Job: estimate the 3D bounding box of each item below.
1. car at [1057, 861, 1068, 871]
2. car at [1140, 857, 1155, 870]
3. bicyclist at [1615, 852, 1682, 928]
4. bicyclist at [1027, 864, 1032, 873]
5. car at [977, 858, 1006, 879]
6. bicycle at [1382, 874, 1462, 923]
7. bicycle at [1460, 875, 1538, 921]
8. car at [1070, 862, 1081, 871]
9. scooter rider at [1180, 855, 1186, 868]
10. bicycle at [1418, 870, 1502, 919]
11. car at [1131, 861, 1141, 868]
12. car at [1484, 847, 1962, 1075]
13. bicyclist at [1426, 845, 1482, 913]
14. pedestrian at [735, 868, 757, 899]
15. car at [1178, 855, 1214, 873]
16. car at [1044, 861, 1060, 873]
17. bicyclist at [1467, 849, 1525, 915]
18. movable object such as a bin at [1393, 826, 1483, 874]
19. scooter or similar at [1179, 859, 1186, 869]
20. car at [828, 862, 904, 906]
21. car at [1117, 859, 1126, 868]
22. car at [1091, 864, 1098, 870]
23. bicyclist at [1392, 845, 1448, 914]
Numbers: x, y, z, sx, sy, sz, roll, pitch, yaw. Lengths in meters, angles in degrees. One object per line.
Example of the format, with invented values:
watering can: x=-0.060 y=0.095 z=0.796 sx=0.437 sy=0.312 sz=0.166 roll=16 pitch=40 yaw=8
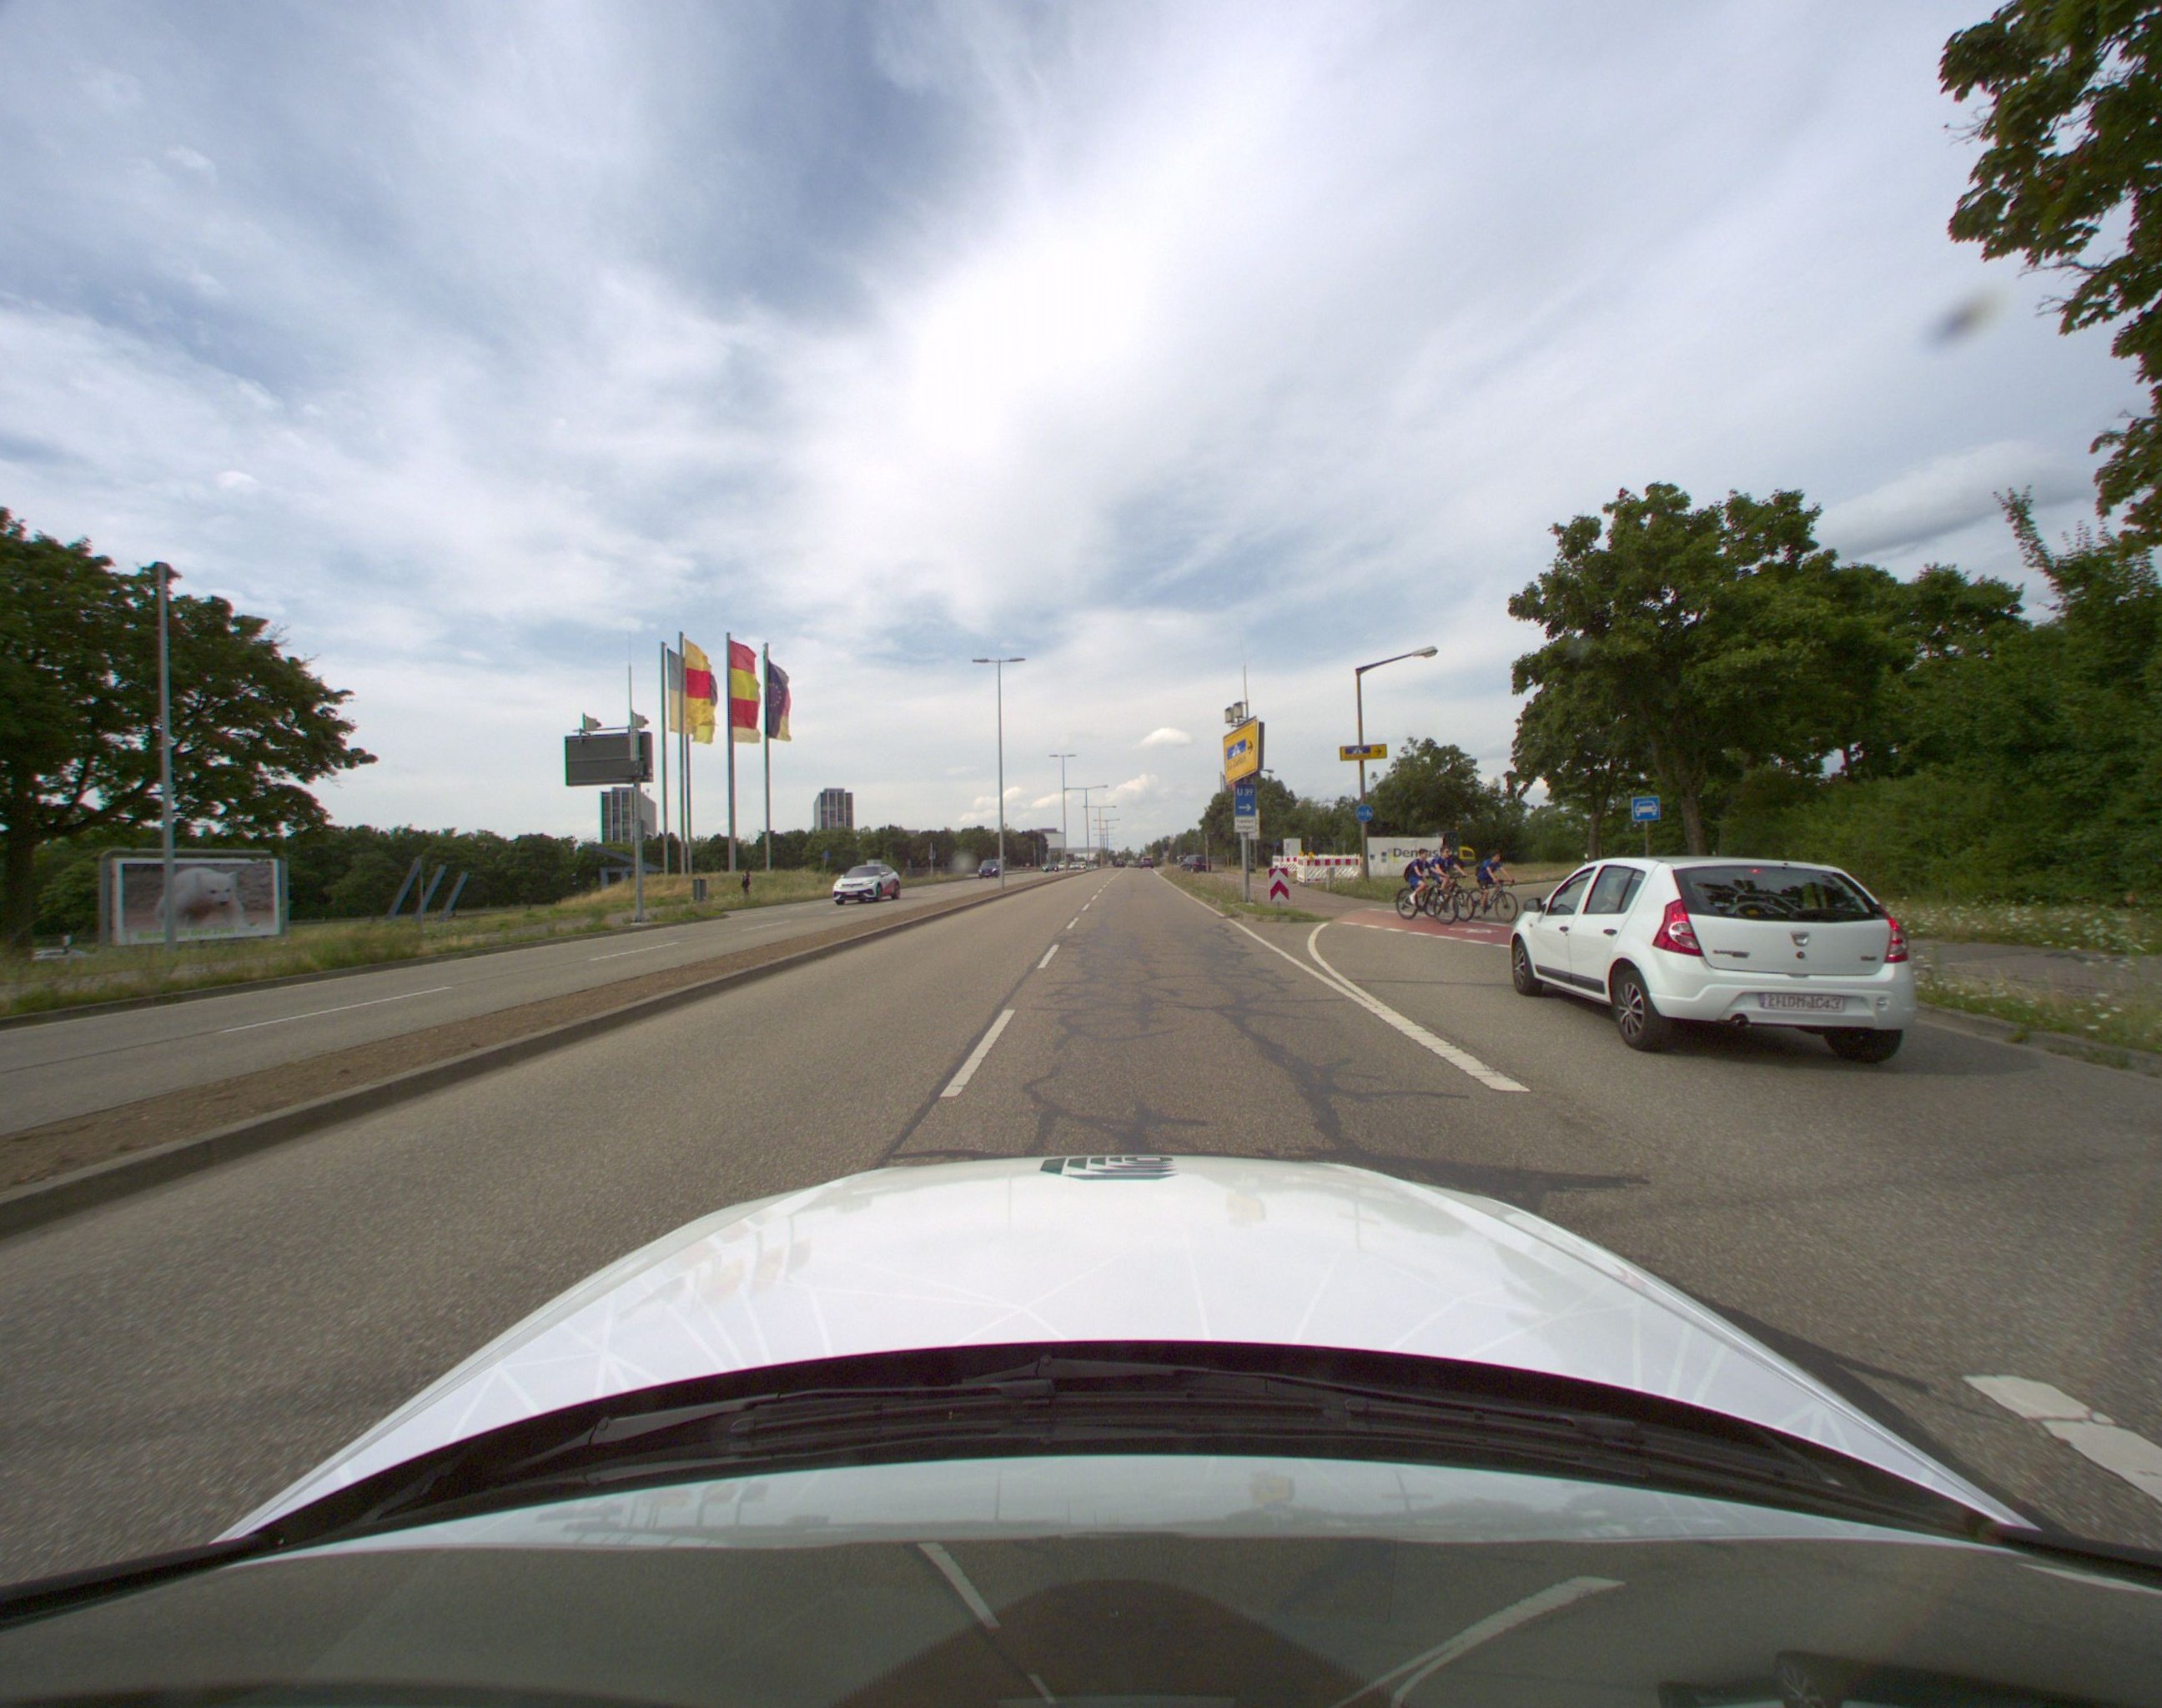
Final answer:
car: x=-3.201 y=2.127 z=141.747 sx=1.542 sy=1.578 sz=3.694 roll=-4 pitch=-1 yaw=3
car: x=9.297 y=1.335 z=114.706 sx=1.725 sy=1.653 sz=4.112 roll=-1 pitch=-2 yaw=-1
bicyclist: x=11.373 y=0.711 z=16.336 sx=0.739 sy=1.474 sz=0.803 roll=0 pitch=-1 yaw=-7
bicyclist: x=-9.664 y=2.743 z=152.979 sx=0.792 sy=1.626 sz=0.976 roll=-1 pitch=-1 yaw=1
car: x=-9.135 y=1.474 z=83.849 sx=1.839 sy=1.894 sz=5.512 roll=-5 pitch=-1 yaw=5
bicycle: x=7.692 y=0.977 z=18.497 sx=0.620 sy=1.006 sz=2.095 roll=1 pitch=0 yaw=-11
bicycle: x=9.751 y=1.005 z=19.088 sx=0.620 sy=1.006 sz=1.780 roll=-3 pitch=-1 yaw=-11
car: x=-1.070 y=2.350 z=157.240 sx=1.641 sy=1.515 sz=4.024 roll=-4 pitch=-1 yaw=7
scooter rider: x=13.132 y=0.950 z=105.143 sx=0.586 sy=1.690 sz=0.742 roll=0 pitch=-1 yaw=-5
bicycle: x=8.718 y=0.917 z=18.846 sx=0.595 sy=1.037 sz=2.187 roll=1 pitch=-1 yaw=-11
car: x=13.167 y=2.438 z=193.777 sx=1.728 sy=1.526 sz=4.106 roll=-1 pitch=-1 yaw=-6
car: x=5.347 y=0.741 z=7.570 sx=1.836 sy=1.502 sz=4.011 roll=1 pitch=-1 yaw=10
bicyclist: x=8.693 y=0.573 z=18.986 sx=0.741 sy=1.518 sz=0.954 roll=0 pitch=-1 yaw=-12
pedestrian: x=-19.398 y=1.706 z=47.148 sx=0.862 sy=1.693 sz=0.679 roll=-3 pitch=-1 yaw=1
car: x=10.923 y=0.961 z=77.673 sx=1.735 sy=1.653 sz=4.089 roll=0 pitch=-2 yaw=-18
car: x=-4.013 y=1.791 z=114.484 sx=1.756 sy=1.441 sz=4.181 roll=-4 pitch=-1 yaw=3
bicyclist: x=9.696 y=0.646 z=19.049 sx=0.741 sy=1.487 sz=0.954 roll=0 pitch=-1 yaw=-12
movable object such as a bin: x=21.130 y=-0.204 z=48.364 sx=4.476 sy=2.689 sz=2.106 roll=-1 pitch=-1 yaw=7
scooter or similar: x=13.126 y=1.319 z=105.139 sx=0.587 sy=1.224 sz=1.201 roll=-1 pitch=-1 yaw=-4
car: x=-9.262 y=1.240 z=35.445 sx=1.840 sy=1.601 sz=4.564 roll=-2 pitch=0 yaw=2
car: x=7.882 y=1.862 z=158.497 sx=1.723 sy=1.653 sz=4.119 roll=-1 pitch=-2 yaw=4
car: x=3.957 y=3.811 z=234.648 sx=1.731 sy=1.481 sz=4.780 roll=-4 pitch=-2 yaw=3
bicyclist: x=7.692 y=0.575 z=18.502 sx=0.741 sy=1.518 sz=0.954 roll=0 pitch=-1 yaw=-11
